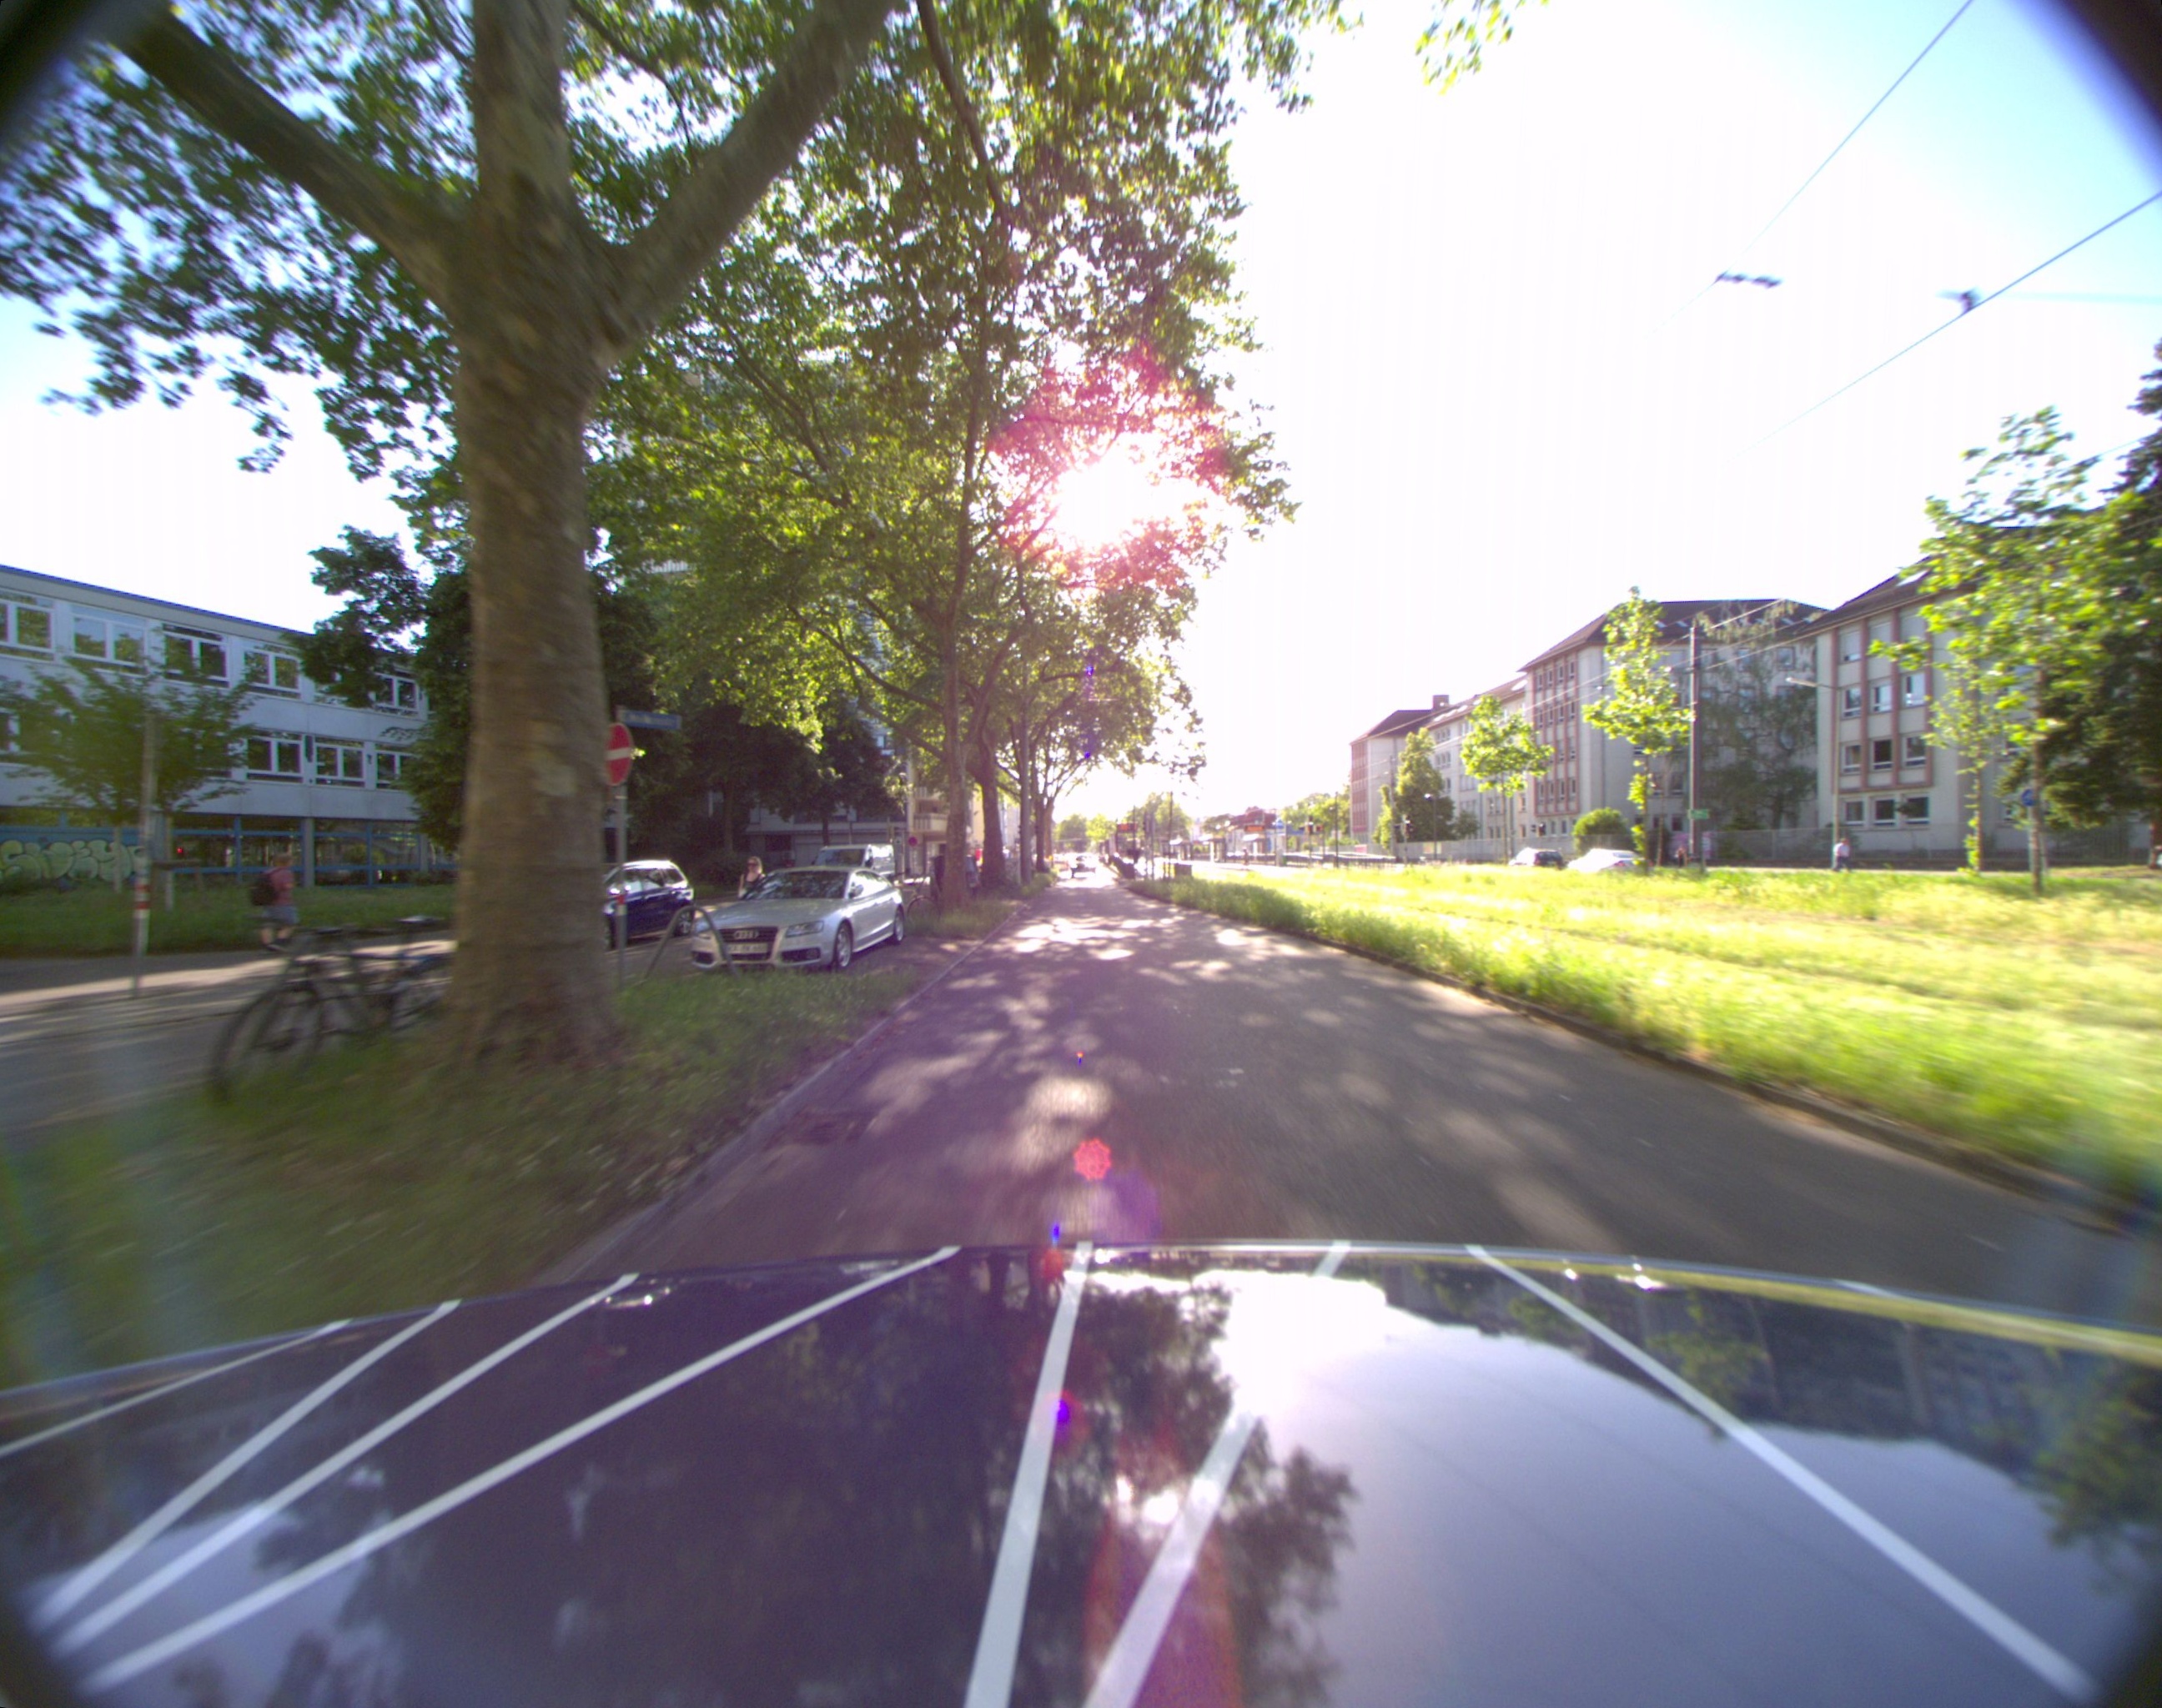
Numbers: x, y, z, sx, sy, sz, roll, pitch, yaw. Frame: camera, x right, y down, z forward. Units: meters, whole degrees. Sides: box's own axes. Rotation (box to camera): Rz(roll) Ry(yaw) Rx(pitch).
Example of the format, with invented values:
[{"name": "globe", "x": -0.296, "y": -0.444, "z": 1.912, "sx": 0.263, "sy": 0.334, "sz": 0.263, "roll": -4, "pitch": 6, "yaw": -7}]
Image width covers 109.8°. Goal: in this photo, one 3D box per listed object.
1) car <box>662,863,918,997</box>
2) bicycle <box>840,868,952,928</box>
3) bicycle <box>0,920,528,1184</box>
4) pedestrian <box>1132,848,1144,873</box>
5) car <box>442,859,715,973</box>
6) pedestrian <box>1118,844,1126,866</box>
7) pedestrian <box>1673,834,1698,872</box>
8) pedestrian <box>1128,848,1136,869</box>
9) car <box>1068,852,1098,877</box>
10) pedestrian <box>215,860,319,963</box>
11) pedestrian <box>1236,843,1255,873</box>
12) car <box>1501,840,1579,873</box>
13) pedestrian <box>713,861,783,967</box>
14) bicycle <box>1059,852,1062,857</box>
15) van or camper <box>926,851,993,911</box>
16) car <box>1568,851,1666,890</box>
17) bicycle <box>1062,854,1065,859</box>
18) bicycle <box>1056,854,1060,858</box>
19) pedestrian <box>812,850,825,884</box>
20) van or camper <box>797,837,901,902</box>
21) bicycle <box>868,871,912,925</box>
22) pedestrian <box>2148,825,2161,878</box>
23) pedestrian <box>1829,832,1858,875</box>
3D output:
[{"name": "car", "x": -3.856, "y": 0.903, "z": 11.182, "sx": 1.758, "sy": 1.390, "sz": 5.026, "roll": -2, "pitch": 0, "yaw": 1}, {"name": "bicycle", "x": -3.718, "y": 0.884, "z": 15.398, "sx": 2.075, "sy": 1.118, "sz": 0.676, "roll": -1, "pitch": 1, "yaw": 0}, {"name": "bicycle", "x": -4.292, "y": 0.947, "z": 4.341, "sx": 0.640, "sy": 0.920, "sz": 2.164, "roll": -1, "pitch": 0, "yaw": 1}, {"name": "pedestrian", "x": 3.763, "y": 0.425, "z": 50.255, "sx": 0.714, "sy": 1.670, "sz": 0.772, "roll": -2, "pitch": 1, "yaw": -1}, {"name": "car", "x": -9.395, "y": 1.027, "z": 14.899, "sx": 1.824, "sy": 1.732, "sz": 5.167, "roll": -1, "pitch": 0, "yaw": 1}, {"name": "pedestrian", "x": 3.742, "y": 0.071, "z": 69.130, "sx": 0.669, "sy": 2.002, "sz": 0.716, "roll": -2, "pitch": 1, "yaw": 2}, {"name": "pedestrian", "x": 32.977, "y": -0.063, "z": 41.478, "sx": 0.664, "sy": 2.002, "sz": 0.860, "roll": -1, "pitch": 1, "yaw": 0}, {"name": "pedestrian", "x": 4.539, "y": 0.400, "z": 67.873, "sx": 0.683, "sy": 1.773, "sz": 0.754, "roll": -2, "pitch": 1, "yaw": 2}, {"name": "car", "x": 0.194, "y": 0.718, "z": 56.088, "sx": 1.979, "sy": 1.660, "sz": 4.620, "roll": -2, "pitch": 0, "yaw": 2}, {"name": "pedestrian", "x": -13.485, "y": 0.927, "z": 12.612, "sx": 0.680, "sy": 1.641, "sz": 0.905, "roll": -1, "pitch": 0, "yaw": 8}, {"name": "pedestrian", "x": 9.693, "y": 0.239, "z": 44.749, "sx": 0.955, "sy": 1.726, "sz": 0.730, "roll": -1, "pitch": 1, "yaw": 3}, {"name": "car", "x": 25.267, "y": 0.143, "z": 41.981, "sx": 1.998, "sy": 1.697, "sz": 4.150, "roll": -1, "pitch": 0, "yaw": 4}, {"name": "pedestrian", "x": -5.330, "y": 0.946, "z": 12.208, "sx": 0.689, "sy": 1.601, "sz": 0.712, "roll": -4, "pitch": 1, "yaw": 1}, {"name": "bicycle", "x": -5.459, "y": 0.087, "z": 201.325, "sx": 0.693, "sy": 1.208, "sz": 2.299, "roll": -1, "pitch": 1, "yaw": 5}, {"name": "van or camper", "x": -3.525, "y": 0.716, "z": 21.724, "sx": 1.506, "sy": 1.579, "sz": 2.836, "roll": -2, "pitch": 1, "yaw": -16}, {"name": "car", "x": 24.634, "y": 0.705, "z": 35.134, "sx": 1.769, "sy": 1.613, "sz": 4.477, "roll": -1, "pitch": 0, "yaw": 7}, {"name": "bicycle", "x": -4.608, "y": 0.573, "z": 201.258, "sx": 0.693, "sy": 1.208, "sz": 2.299, "roll": -1, "pitch": 1, "yaw": 5}, {"name": "bicycle", "x": -6.159, "y": 0.554, "z": 201.401, "sx": 0.693, "sy": 1.208, "sz": 2.299, "roll": -1, "pitch": 1, "yaw": 5}, {"name": "pedestrian", "x": -13.298, "y": 0.658, "z": 38.488, "sx": 0.582, "sy": 1.686, "sz": 0.625, "roll": -1, "pitch": 1, "yaw": -17}, {"name": "van or camper", "x": -9.081, "y": 0.538, "z": 30.428, "sx": 2.297, "sy": 2.273, "sz": 5.822, "roll": -2, "pitch": 1, "yaw": 0}, {"name": "bicycle", "x": -4.267, "y": 0.949, "z": 17.104, "sx": 0.760, "sy": 1.072, "sz": 1.885, "roll": -2, "pitch": 1, "yaw": -9}, {"name": "pedestrian", "x": 34.464, "y": -0.088, "z": 23.938, "sx": 0.683, "sy": 1.686, "sz": 0.823, "roll": -2, "pitch": 1, "yaw": -18}, {"name": "pedestrian", "x": 33.145, "y": -0.037, "z": 33.023, "sx": 0.694, "sy": 1.826, "sz": 0.573, "roll": -1, "pitch": 1, "yaw": 0}]
